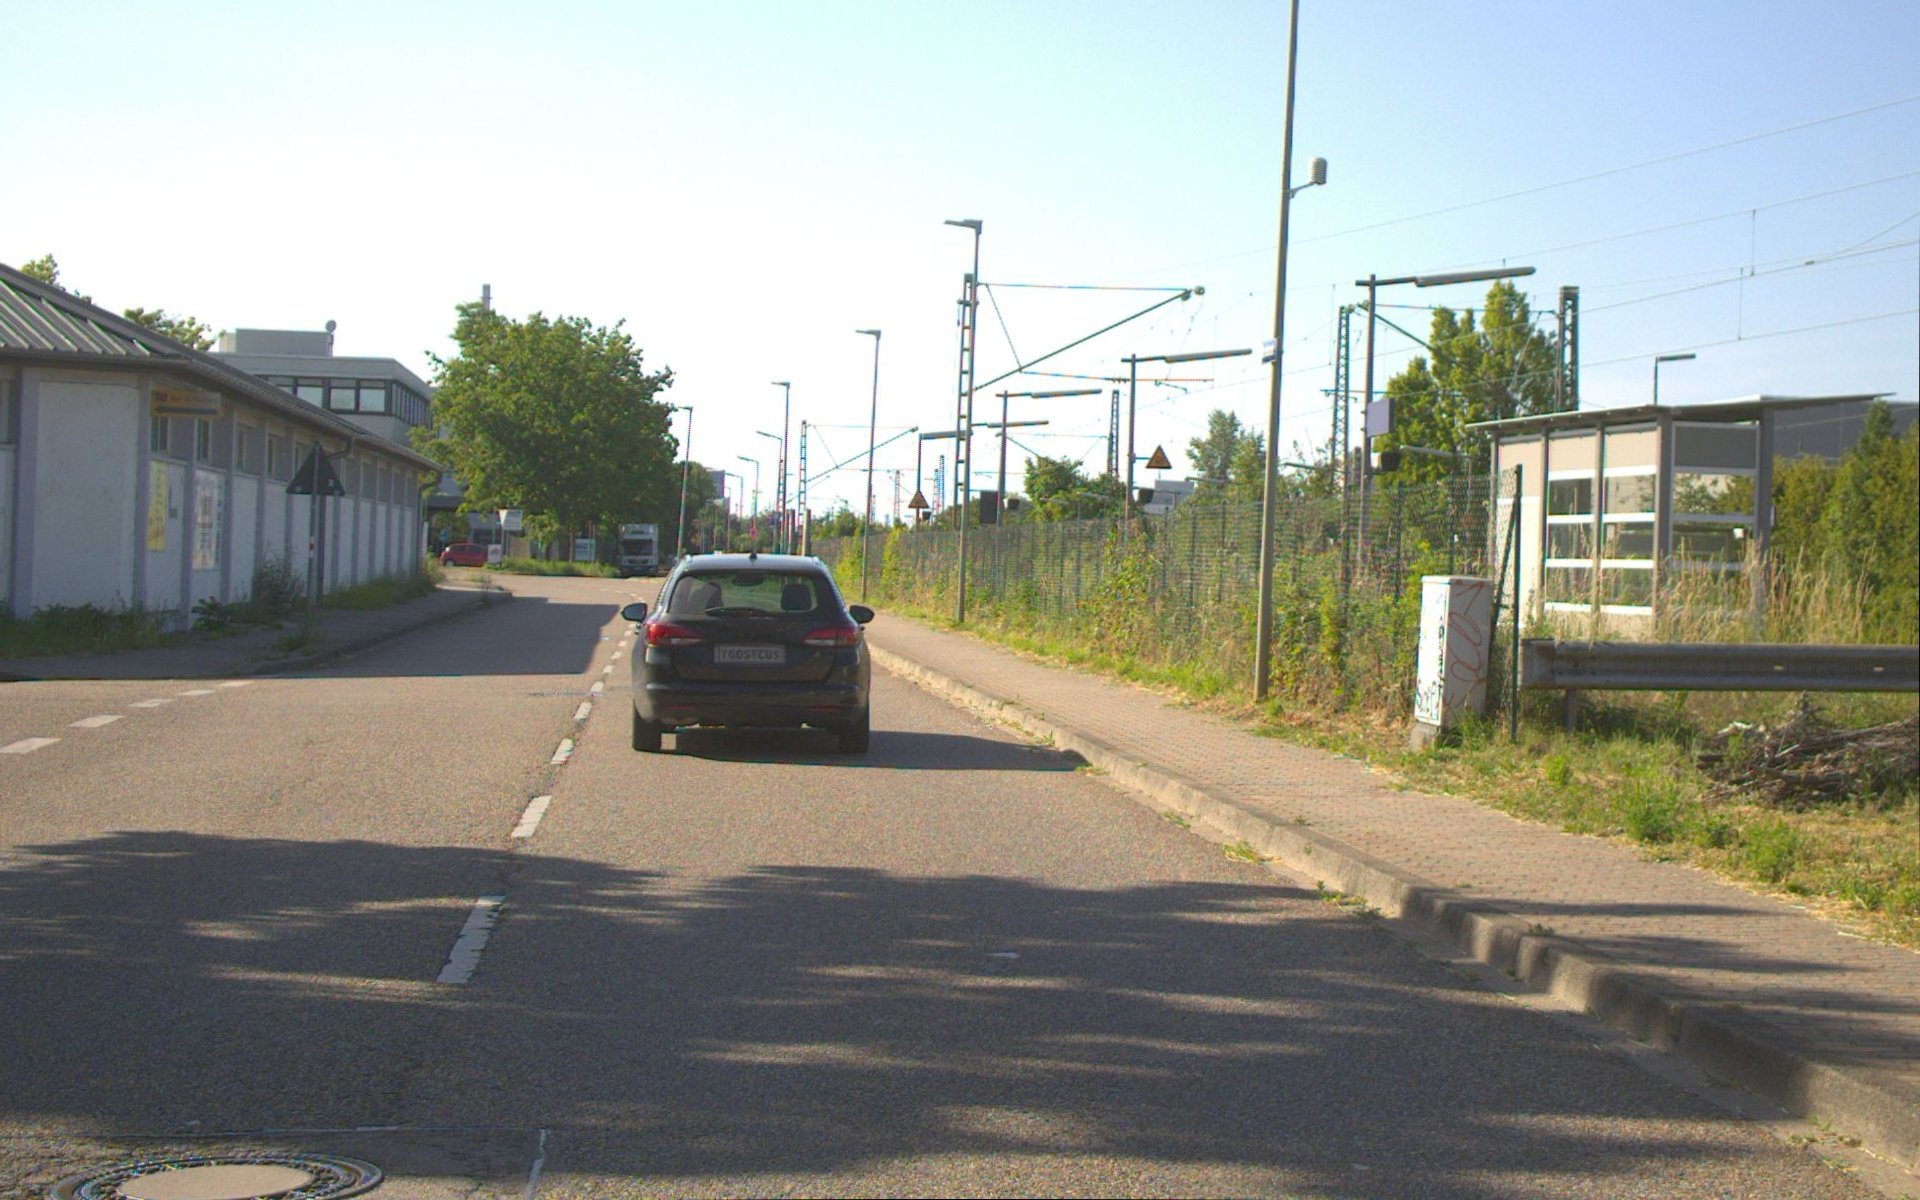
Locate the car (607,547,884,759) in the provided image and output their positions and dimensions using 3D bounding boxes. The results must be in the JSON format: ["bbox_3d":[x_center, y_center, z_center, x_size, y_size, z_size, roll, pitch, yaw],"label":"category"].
[{"bbox_3d":[-1.723,0.352,26.655,1.942,1.483,4.566,1,1,-5],"label":"car"}]

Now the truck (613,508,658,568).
[{"bbox_3d":[-22.203,-4.220,234.945,2.612,3.872,13.535,3,1,-7],"label":"truck"}]
